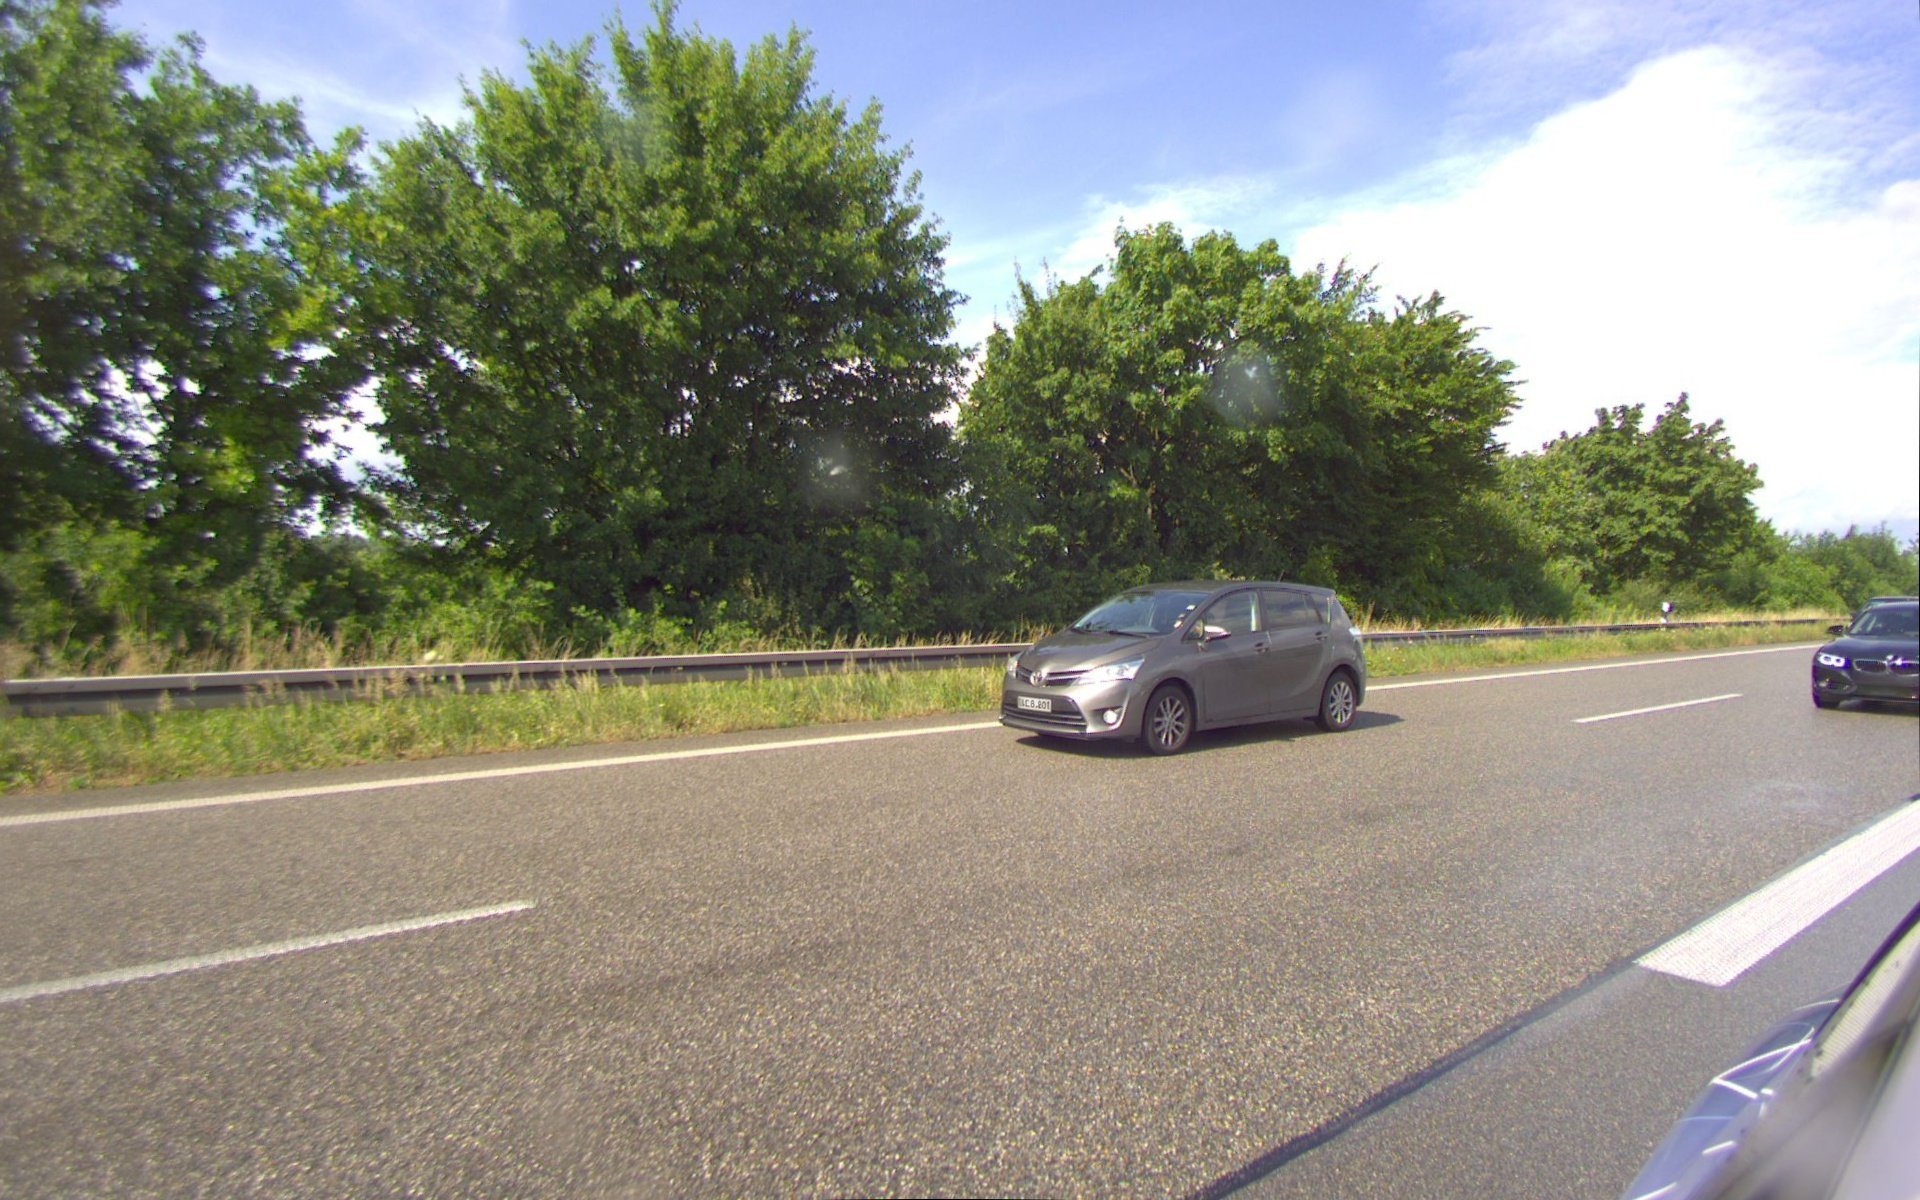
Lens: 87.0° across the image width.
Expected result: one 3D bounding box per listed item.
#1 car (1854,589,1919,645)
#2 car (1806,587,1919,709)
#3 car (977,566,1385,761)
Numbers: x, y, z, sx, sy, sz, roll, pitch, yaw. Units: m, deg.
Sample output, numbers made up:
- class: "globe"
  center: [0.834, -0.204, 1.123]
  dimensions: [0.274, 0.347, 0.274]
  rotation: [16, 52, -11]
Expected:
- class: "car"
  center: [28.809, 0.476, 30.685]
  dimensions: [3.927, 1.588, 1.853]
  rotation: [-1, 1, -38]
- class: "car"
  center: [13.334, 0.577, 13.844]
  dimensions: [4.178, 1.482, 1.853]
  rotation: [-1, 1, -38]
- class: "car"
  center: [2.410, 0.519, 10.504]
  dimensions: [4.304, 1.633, 1.793]
  rotation: [0, 1, -37]
